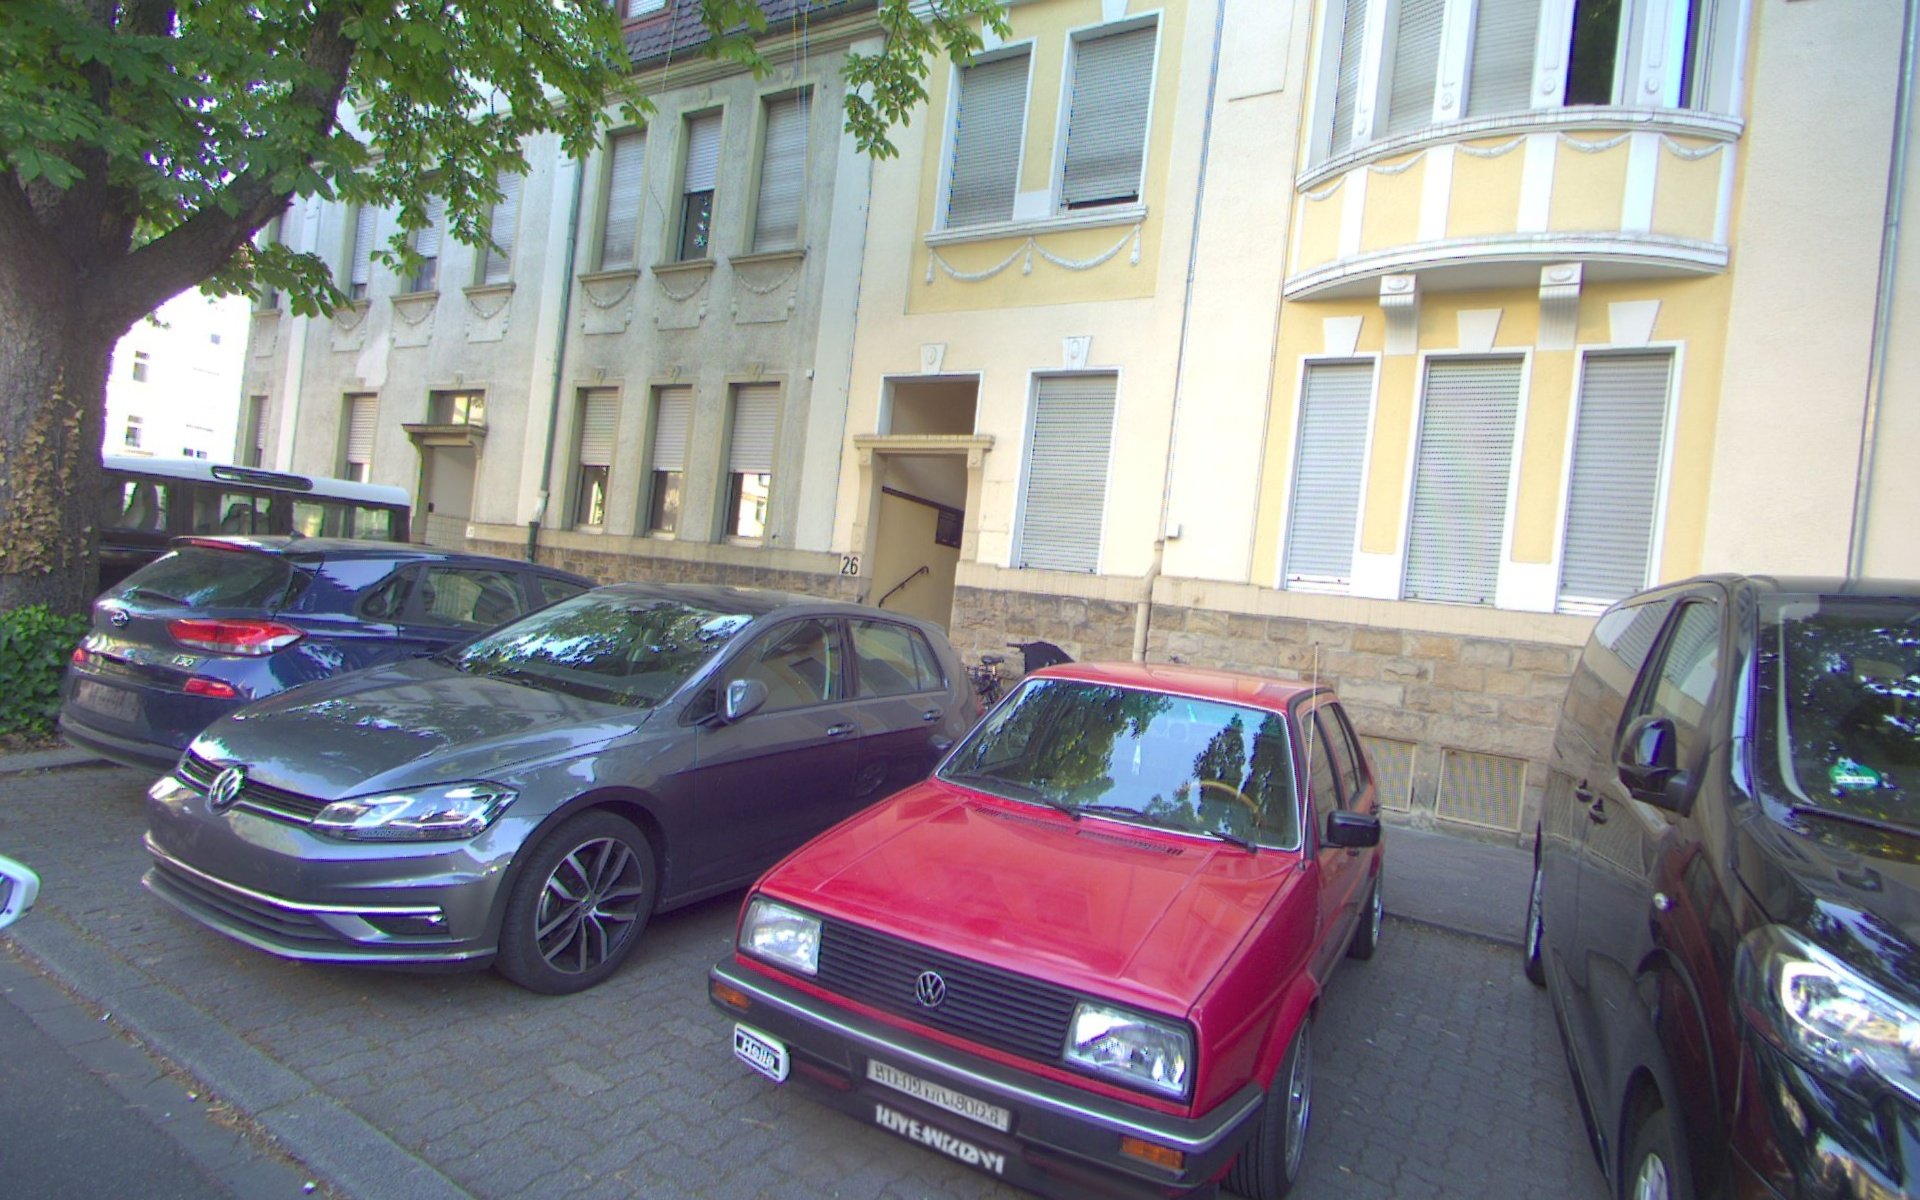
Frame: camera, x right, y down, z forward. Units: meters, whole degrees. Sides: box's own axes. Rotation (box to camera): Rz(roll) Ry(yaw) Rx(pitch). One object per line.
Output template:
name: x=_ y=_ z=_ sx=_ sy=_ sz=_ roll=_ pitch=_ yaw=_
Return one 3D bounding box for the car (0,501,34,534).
car: x=-36.331 y=-3.240 z=36.759 sx=1.357 sy=1.081 sz=3.370 roll=7 pitch=-1 yaw=30

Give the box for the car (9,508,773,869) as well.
car: x=-3.036 y=0.422 z=6.202 sx=1.600 sy=1.440 sz=3.754 roll=6 pitch=0 yaw=29

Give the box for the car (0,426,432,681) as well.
car: x=-7.612 y=-0.383 z=9.311 sx=1.762 sy=1.981 sz=4.496 roll=7 pitch=1 yaw=29

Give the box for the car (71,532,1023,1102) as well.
car: x=-1.339 y=0.649 z=4.838 sx=1.600 sy=1.440 sz=4.054 roll=6 pitch=0 yaw=29

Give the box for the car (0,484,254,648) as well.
car: x=-10.033 y=-0.398 z=10.861 sx=1.680 sy=1.606 sz=3.488 roll=7 pitch=0 yaw=26

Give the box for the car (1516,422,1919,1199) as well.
car: x=2.886 y=0.897 z=2.945 sx=1.848 sy=1.847 sz=4.829 roll=6 pitch=0 yaw=27

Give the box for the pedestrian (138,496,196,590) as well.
pedestrian: x=-16.735 y=-1.200 z=21.232 sx=0.565 sy=1.867 sz=0.633 roll=7 pitch=0 yaw=28

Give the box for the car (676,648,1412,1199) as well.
car: x=0.840 y=0.960 z=4.225 sx=1.532 sy=1.337 sz=3.916 roll=6 pitch=0 yaw=29

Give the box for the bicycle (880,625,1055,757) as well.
bicycle: x=0.055 y=0.895 z=10.321 sx=1.675 sy=1.090 sz=0.500 roll=7 pitch=2 yaw=32
